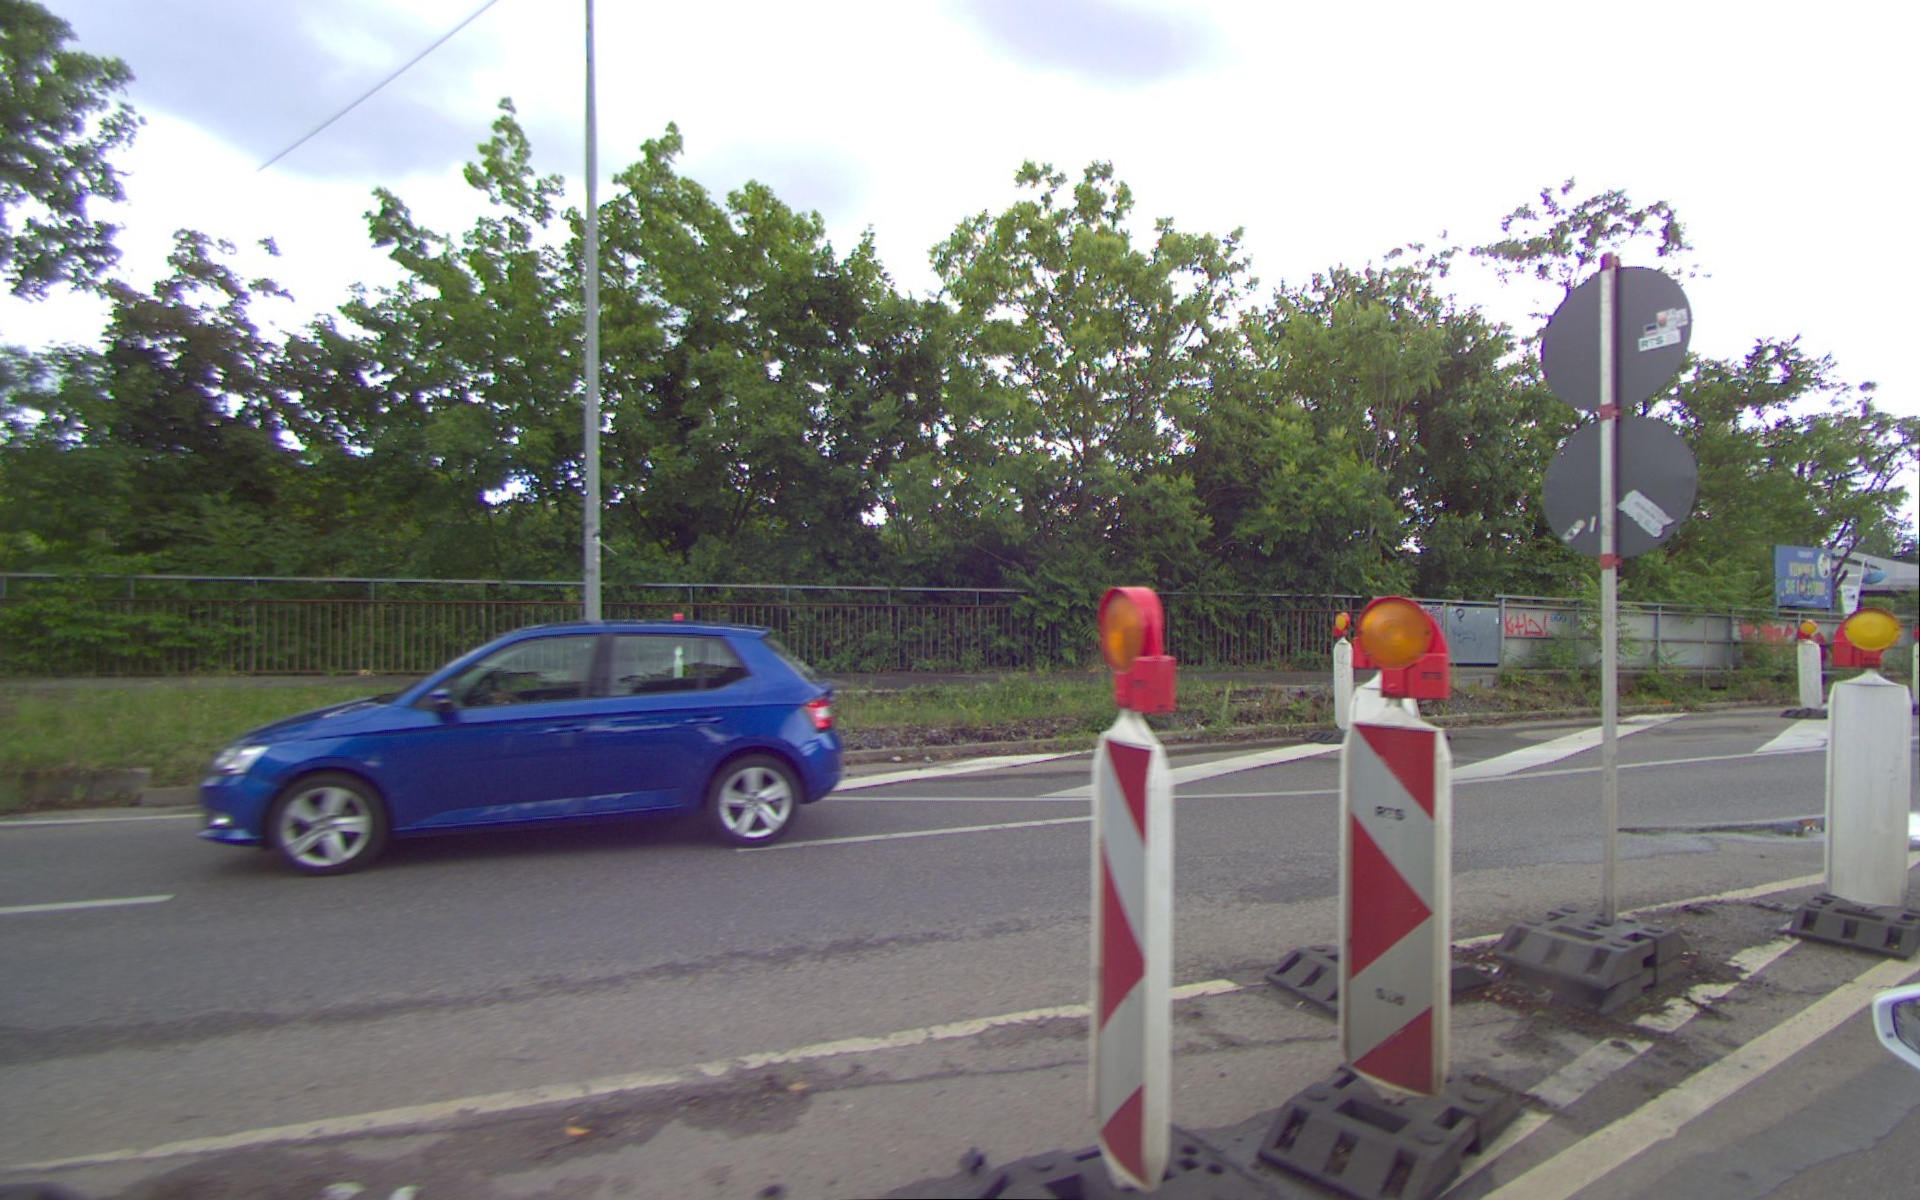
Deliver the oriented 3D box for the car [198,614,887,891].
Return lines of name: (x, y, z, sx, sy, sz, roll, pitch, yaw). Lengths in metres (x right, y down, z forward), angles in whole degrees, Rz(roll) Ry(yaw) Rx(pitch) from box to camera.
car: (-2.557, 0.864, 6.867, 3.848, 1.481, 1.695, 0, -1, -16)
